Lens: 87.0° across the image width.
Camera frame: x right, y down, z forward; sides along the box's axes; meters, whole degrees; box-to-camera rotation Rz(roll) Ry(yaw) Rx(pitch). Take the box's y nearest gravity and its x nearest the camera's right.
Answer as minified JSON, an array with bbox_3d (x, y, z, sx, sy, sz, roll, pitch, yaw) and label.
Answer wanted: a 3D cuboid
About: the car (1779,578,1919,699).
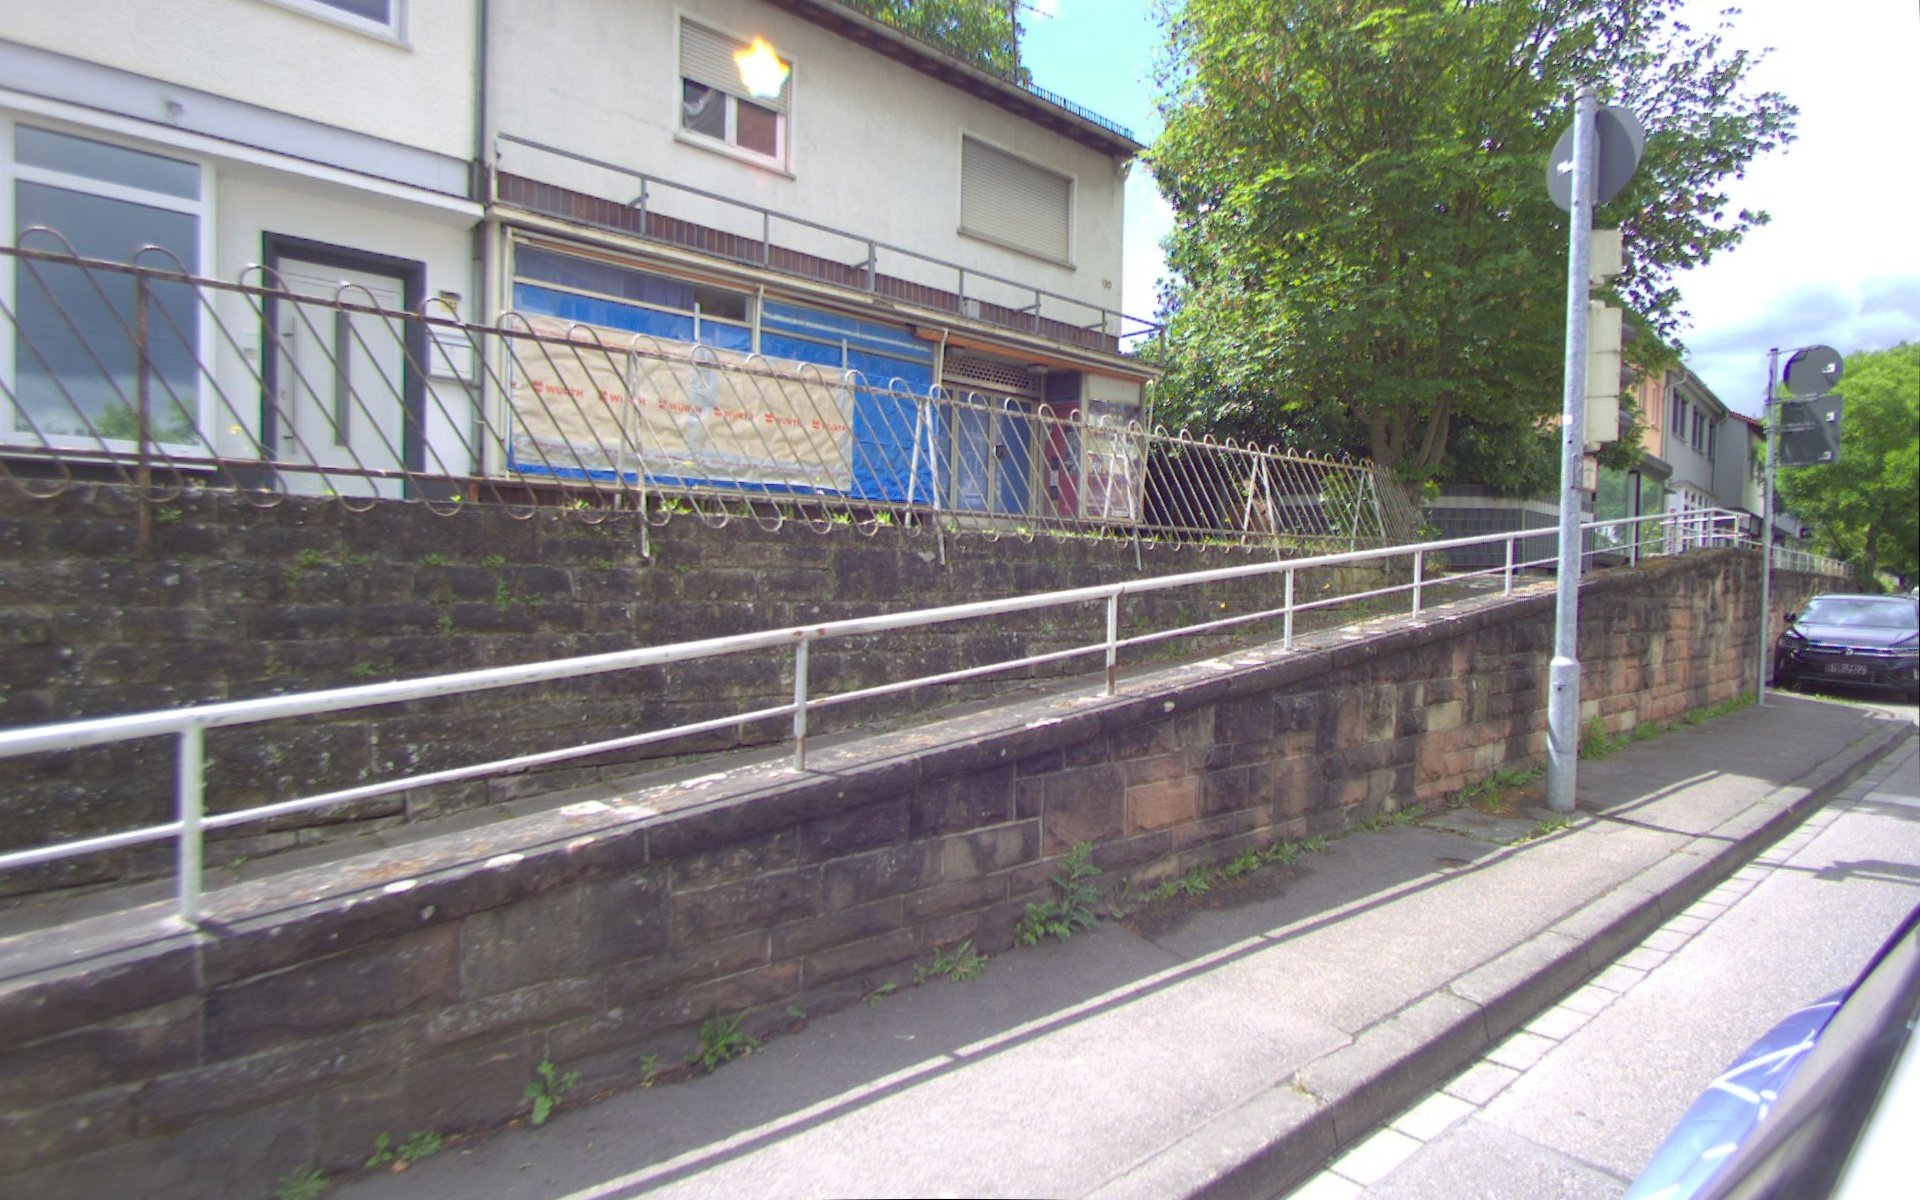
[{"bbox_3d":[14.054,0.497,15.541,3.955,1.599,1.757,-1,3,-44],"label":"car"}]

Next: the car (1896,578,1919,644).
[{"bbox_3d":[27.299,0.302,28.017,3.933,1.737,1.757,-1,3,-44],"label":"car"}]

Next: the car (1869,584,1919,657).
[{"bbox_3d":[22.903,0.474,23.895,4.105,1.587,1.758,0,3,-44],"label":"car"}]
